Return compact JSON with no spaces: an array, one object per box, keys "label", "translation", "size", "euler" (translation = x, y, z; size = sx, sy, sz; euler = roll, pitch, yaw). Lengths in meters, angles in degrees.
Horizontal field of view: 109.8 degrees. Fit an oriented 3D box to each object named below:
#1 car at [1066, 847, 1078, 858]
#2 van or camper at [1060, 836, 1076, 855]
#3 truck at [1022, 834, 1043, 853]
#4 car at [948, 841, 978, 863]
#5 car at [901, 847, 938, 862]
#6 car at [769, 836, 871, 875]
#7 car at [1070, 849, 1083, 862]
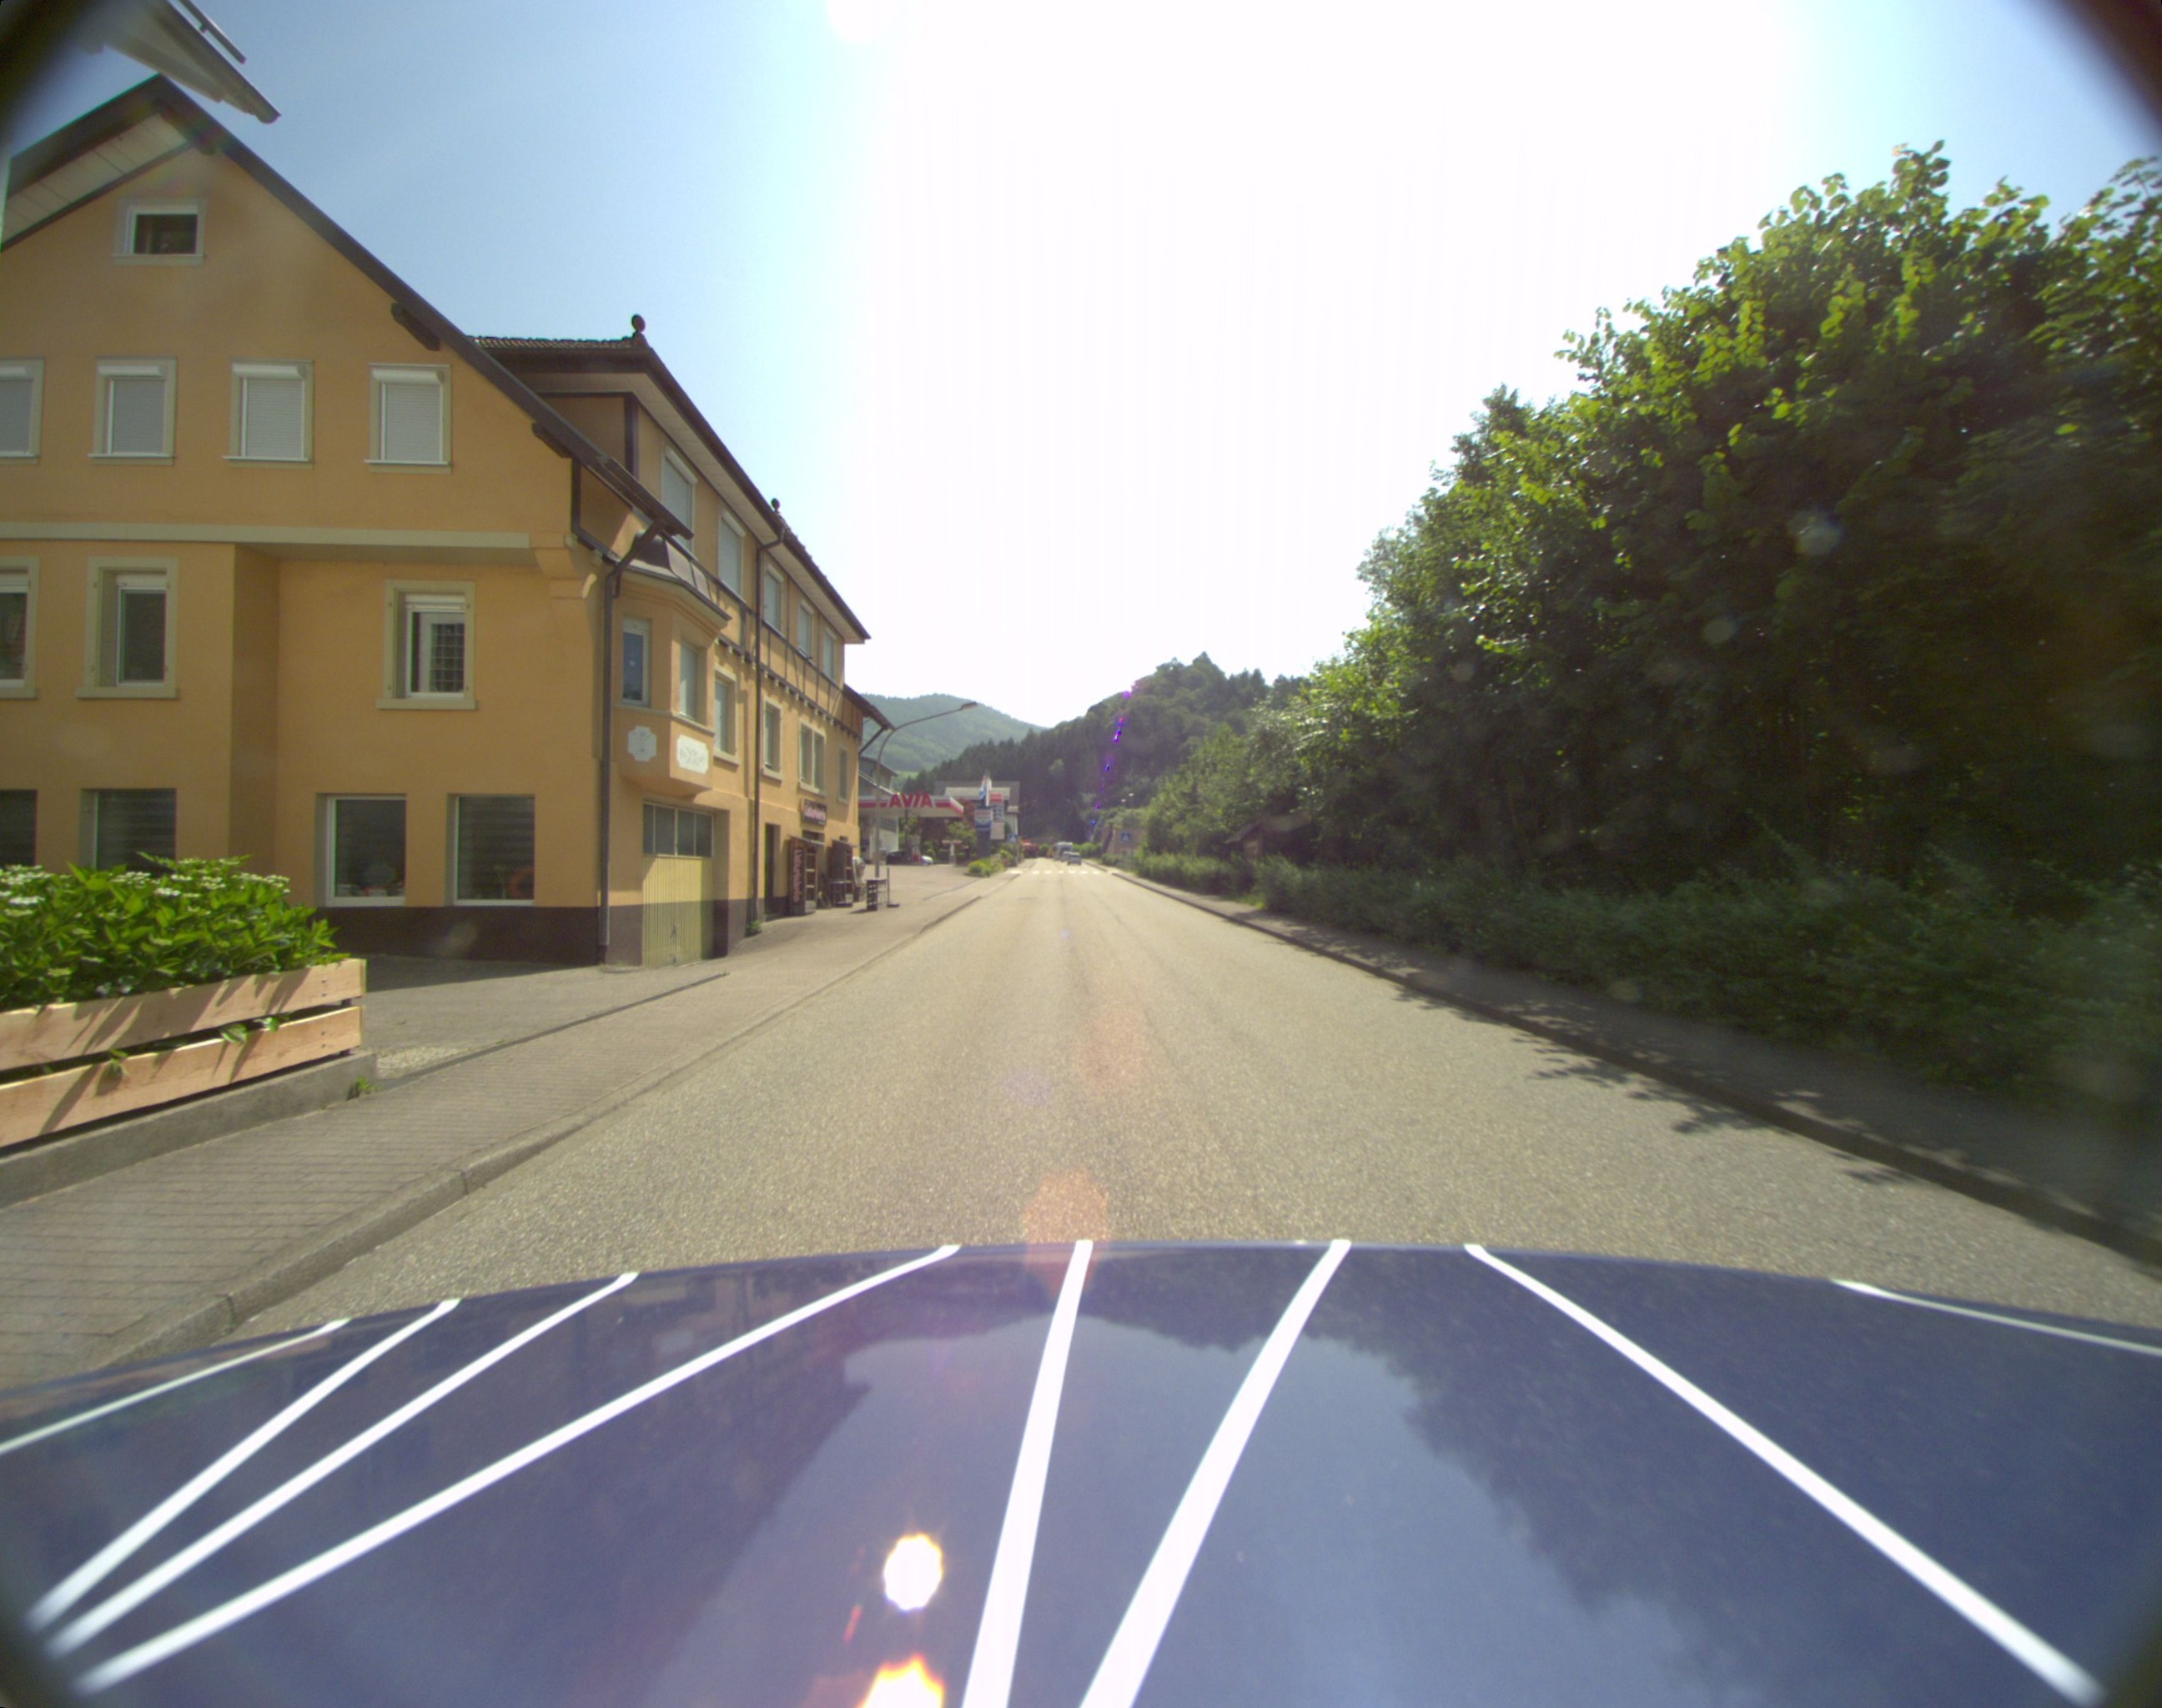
[{"label":"car","translation":[-1.264,-0.245,111.347],"size":[1.609,1.398,3.826],"euler":[3,1,-2]},{"label":"van or camper","translation":[-2.154,-1.366,121.743],"size":[2.364,2.936,8.049],"euler":[2,0,-1]},{"label":"truck","translation":[-9.651,-2.078,149.243],"size":[2.654,3.561,8.181],"euler":[2,1,-14]},{"label":"car","translation":[-9.292,-0.191,60.230],"size":[1.696,1.568,3.910],"euler":[4,1,-1]},{"label":"car","translation":[-14.883,0.019,69.959],"size":[3.081,1.138,1.334],"euler":[4,1,-3]},{"label":"car","translation":[-12.442,0.058,36.478],"size":[4.333,1.536,1.797],"euler":[4,1,-11]},{"label":"car","translation":[-0.530,0.174,92.300],"size":[1.594,1.474,3.756],"euler":[2,0,0]}]
